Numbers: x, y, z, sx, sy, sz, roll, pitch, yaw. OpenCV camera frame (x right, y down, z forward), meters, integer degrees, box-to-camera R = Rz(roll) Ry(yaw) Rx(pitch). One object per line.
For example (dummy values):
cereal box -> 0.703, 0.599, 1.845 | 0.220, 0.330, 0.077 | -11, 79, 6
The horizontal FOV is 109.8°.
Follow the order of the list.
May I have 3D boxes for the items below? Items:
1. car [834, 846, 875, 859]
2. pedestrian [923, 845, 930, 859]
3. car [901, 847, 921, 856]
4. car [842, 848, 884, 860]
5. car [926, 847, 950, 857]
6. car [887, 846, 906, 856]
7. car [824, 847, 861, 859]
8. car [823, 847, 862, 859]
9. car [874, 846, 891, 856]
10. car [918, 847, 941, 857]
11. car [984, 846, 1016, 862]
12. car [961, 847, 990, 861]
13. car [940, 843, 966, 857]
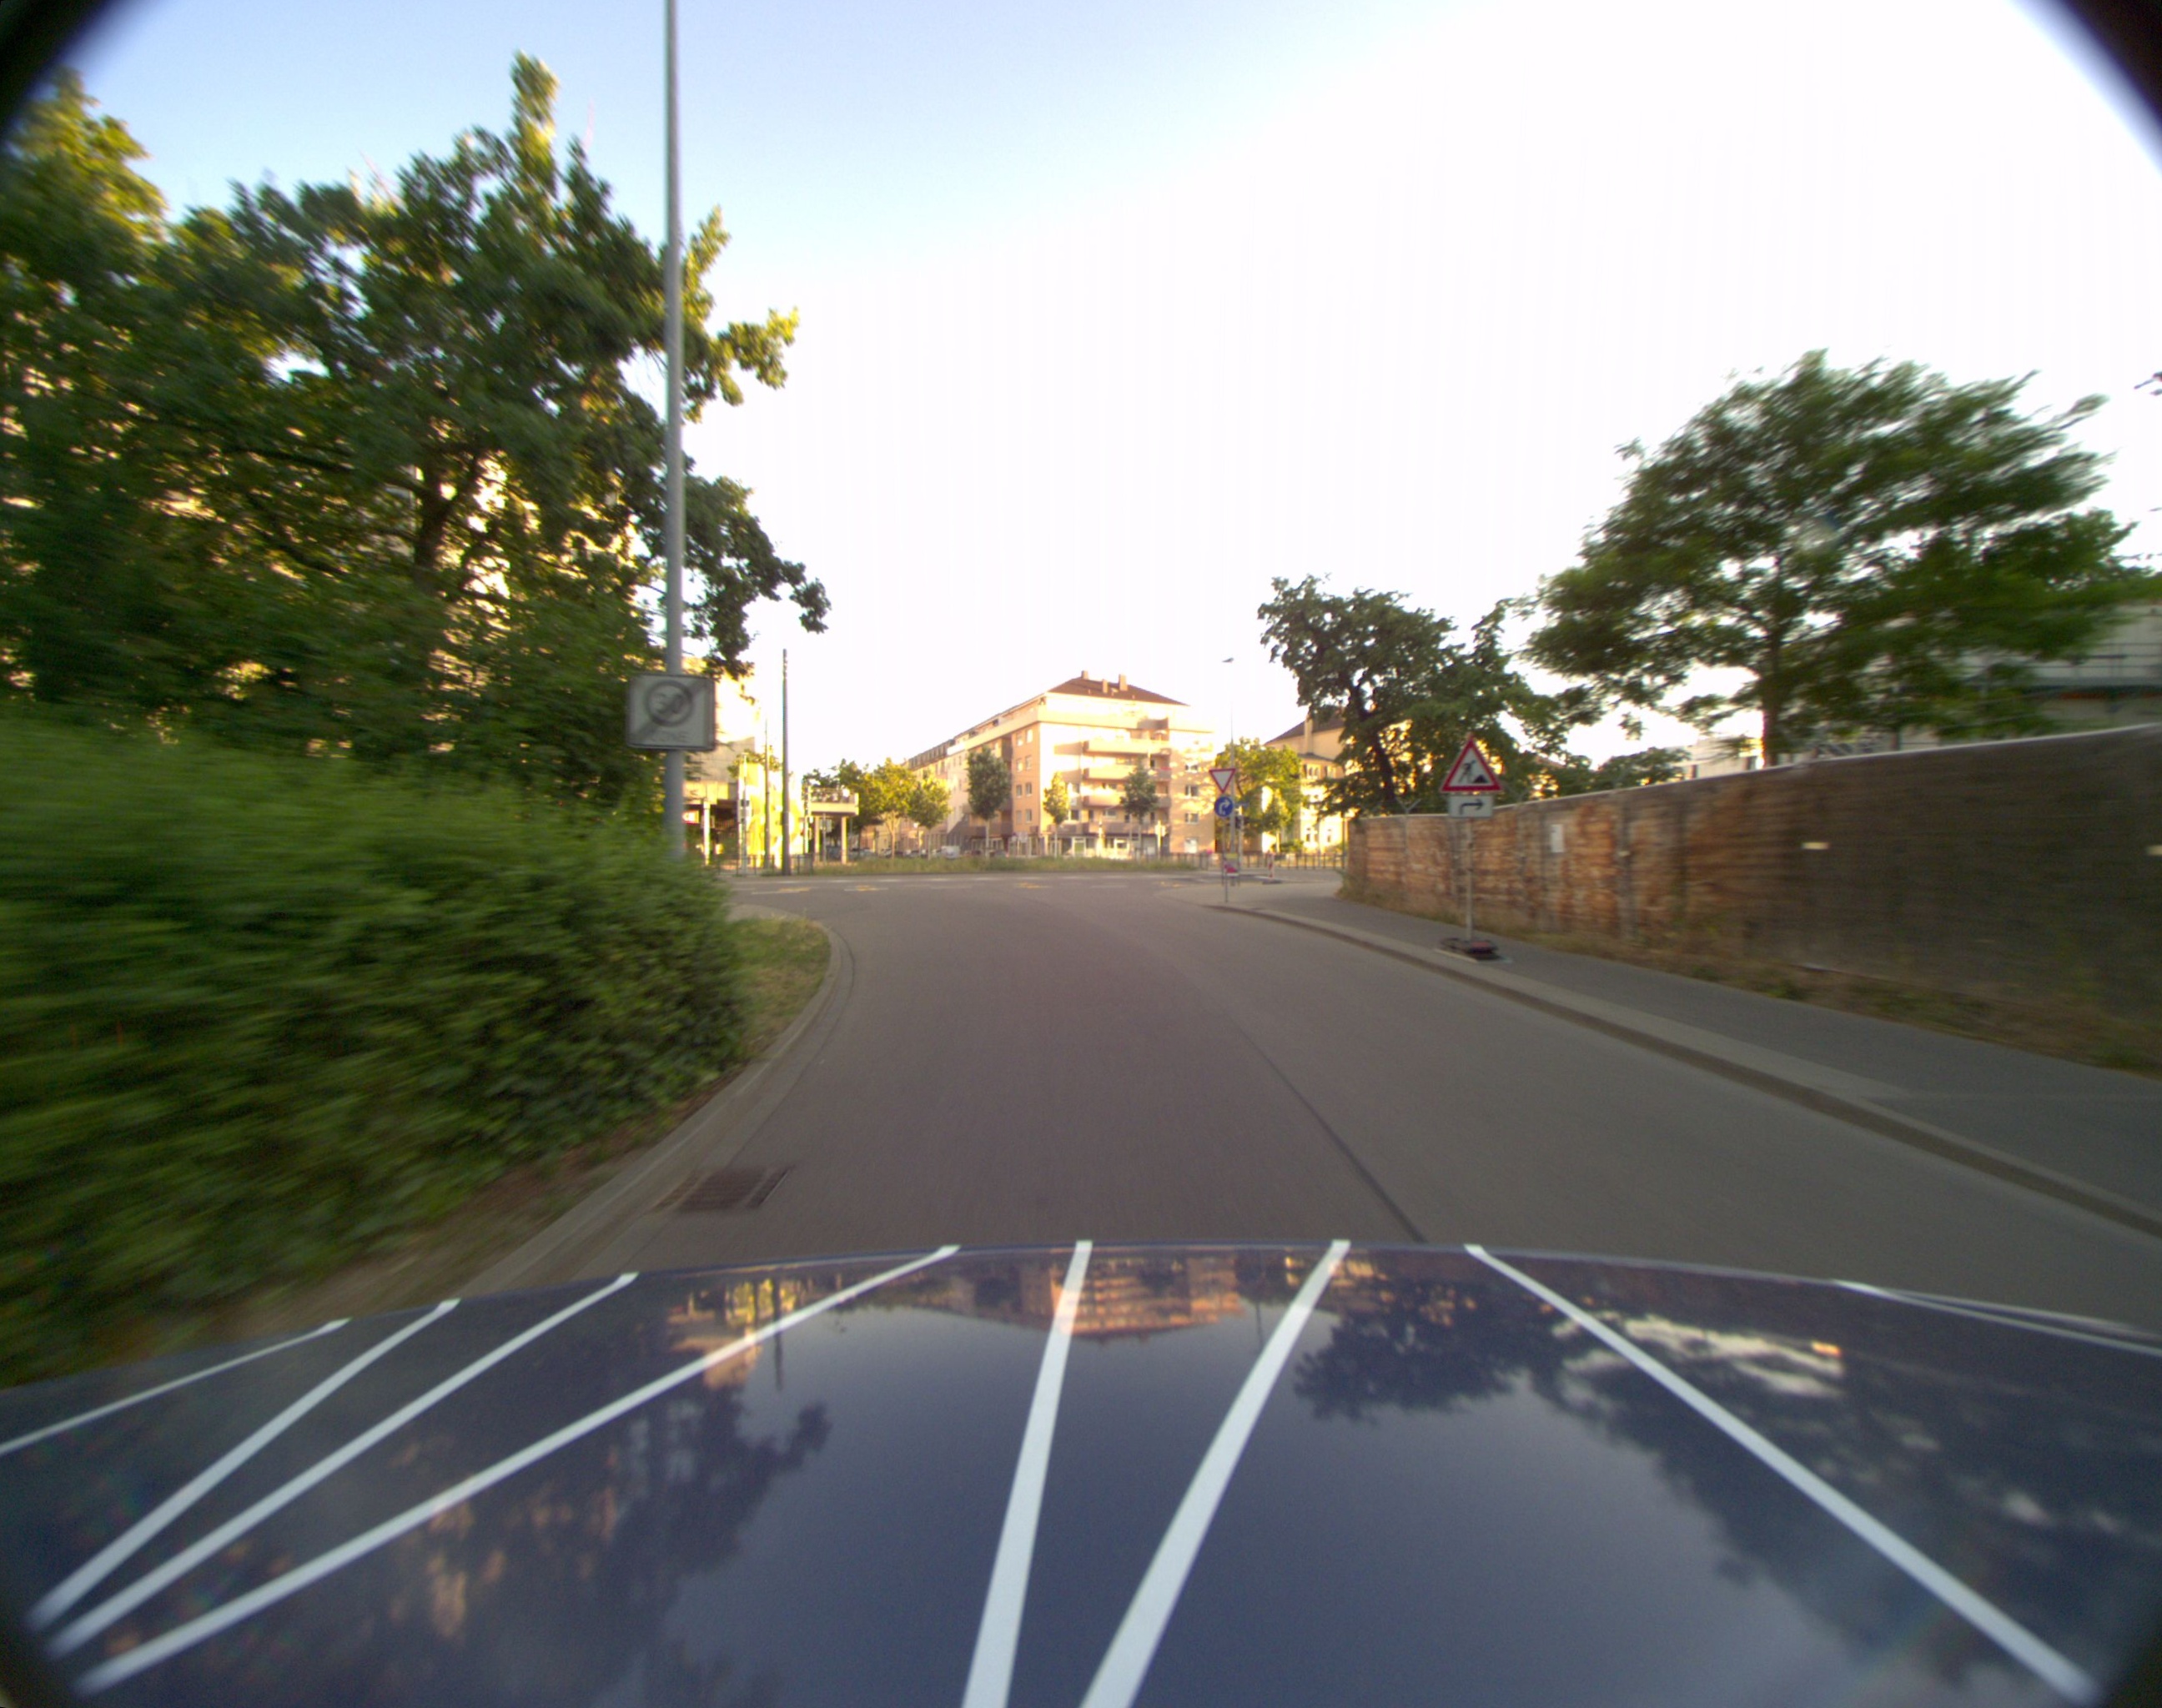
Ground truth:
car -> -28.386, -0.168, 95.381 | 4.650, 1.551, 1.995 | -1, 1, -25
pedestrian -> -23.317, -0.309, 114.783 | 0.893, 2.002, 0.769 | -1, 1, -27
car -> -24.613, -0.318, 110.020 | 2.003, 1.237, 3.991 | -1, 1, -26
car -> -26.025, -0.028, 90.722 | 4.650, 1.390, 1.995 | -1, 1, -25
car -> -18.361, -0.245, 97.387 | 2.003, 1.237, 3.991 | -1, 1, -26
car -> -29.054, -0.550, 119.638 | 2.003, 1.521, 3.991 | -1, 1, -26
car -> -32.471, -0.207, 103.398 | 4.650, 1.551, 1.995 | -1, 1, -25
car -> -31.675, -0.156, 100.800 | 4.650, 1.551, 1.995 | -1, 1, -25
car -> -33.012, -0.491, 126.375 | 2.003, 1.521, 3.991 | -1, 1, -26
car -> -20.177, -0.248, 101.142 | 2.003, 1.237, 3.991 | -1, 1, -26
car -> -8.235, -0.007, 76.882 | 2.003, 1.477, 3.991 | -1, 1, -26
car -> -11.714, -0.018, 84.419 | 2.003, 1.477, 3.991 | -1, 1, -26
car -> -15.548, -0.510, 91.986 | 2.003, 1.740, 3.991 | -1, 1, -26
